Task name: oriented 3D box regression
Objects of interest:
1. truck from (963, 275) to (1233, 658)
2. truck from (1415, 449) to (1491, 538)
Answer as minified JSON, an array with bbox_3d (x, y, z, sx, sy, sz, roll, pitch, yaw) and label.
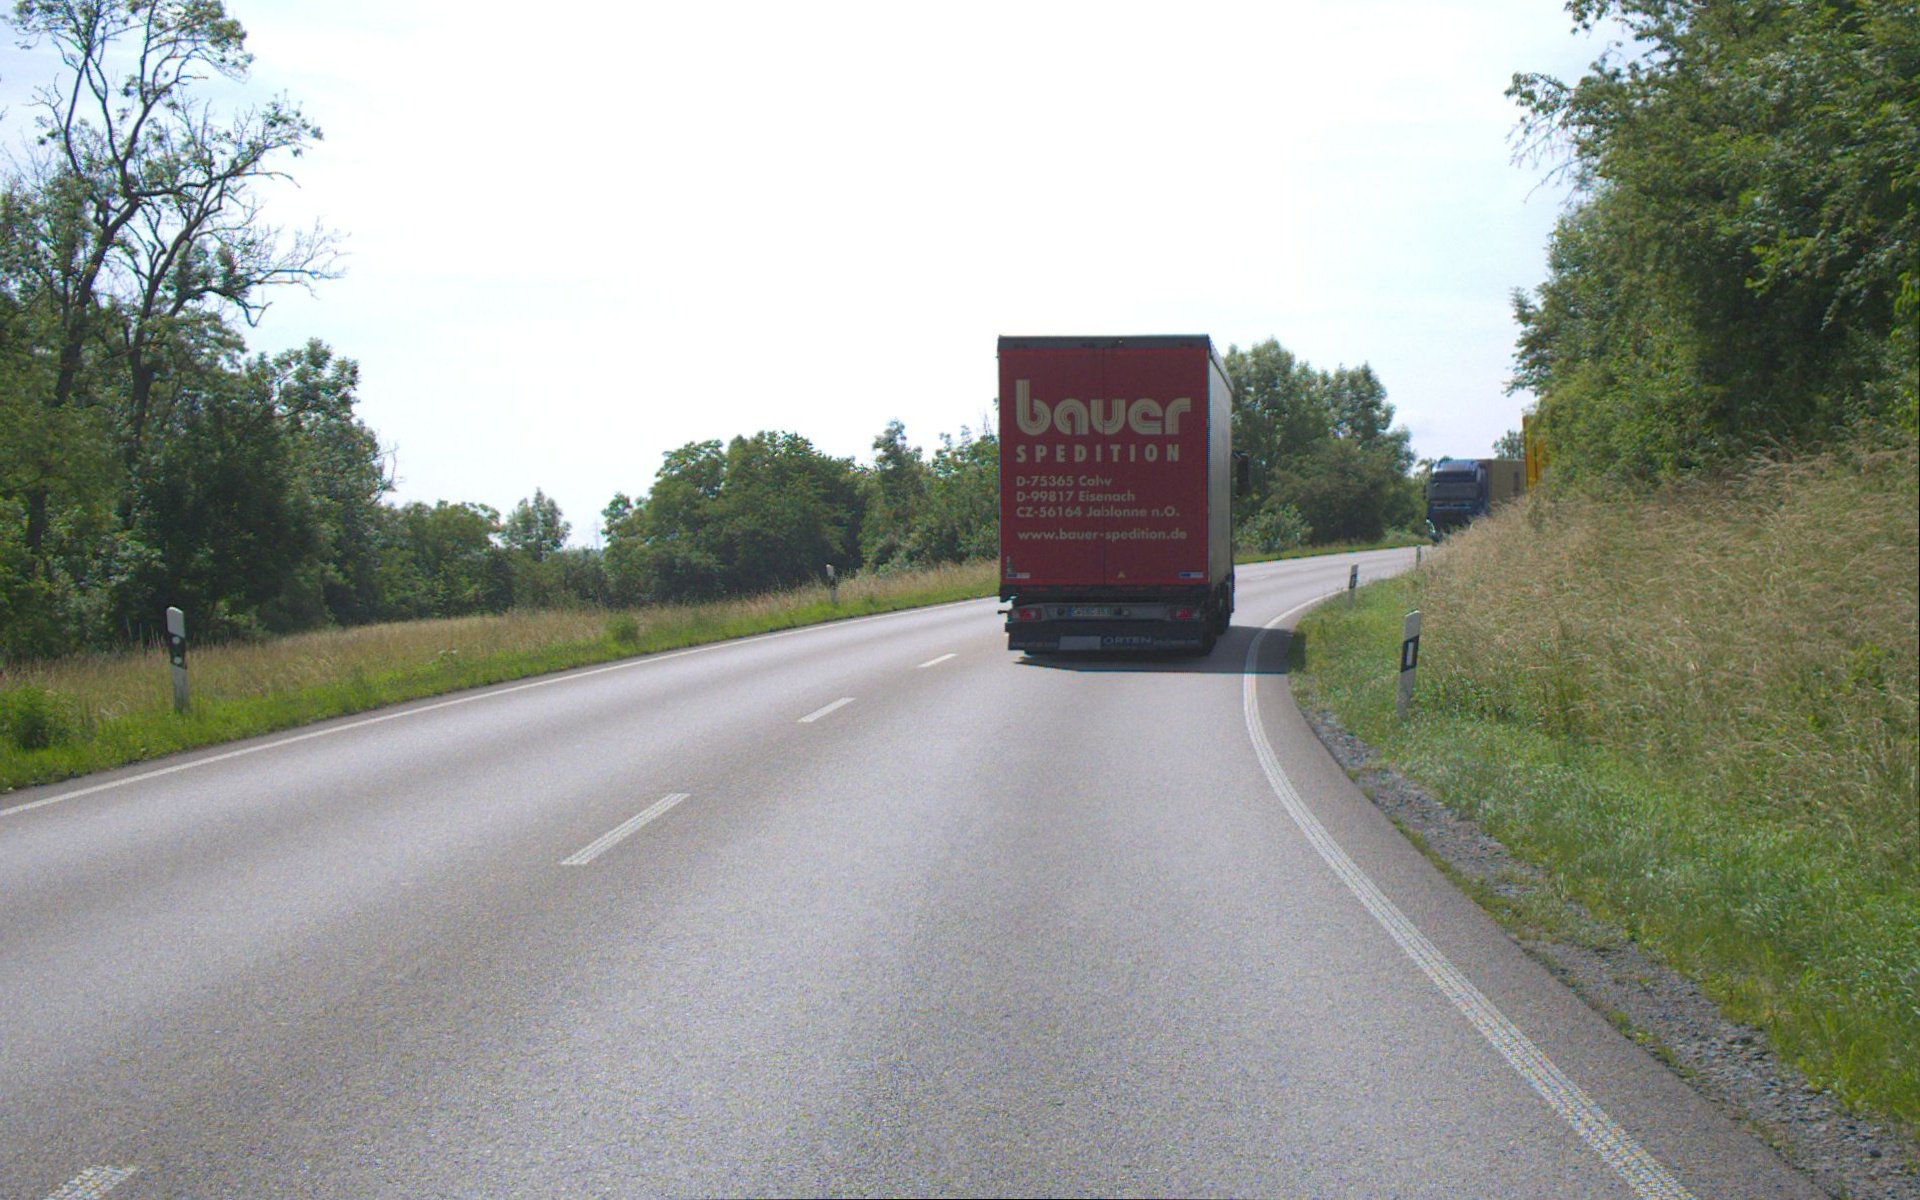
[{"bbox_3d":[2.114,-1.742,46.808,3.113,4.490,12.166,1,2,5],"label":"truck"},{"bbox_3d":[23.091,-4.974,160.809,2.808,4.053,5.981,-1,2,15],"label":"truck"}]
